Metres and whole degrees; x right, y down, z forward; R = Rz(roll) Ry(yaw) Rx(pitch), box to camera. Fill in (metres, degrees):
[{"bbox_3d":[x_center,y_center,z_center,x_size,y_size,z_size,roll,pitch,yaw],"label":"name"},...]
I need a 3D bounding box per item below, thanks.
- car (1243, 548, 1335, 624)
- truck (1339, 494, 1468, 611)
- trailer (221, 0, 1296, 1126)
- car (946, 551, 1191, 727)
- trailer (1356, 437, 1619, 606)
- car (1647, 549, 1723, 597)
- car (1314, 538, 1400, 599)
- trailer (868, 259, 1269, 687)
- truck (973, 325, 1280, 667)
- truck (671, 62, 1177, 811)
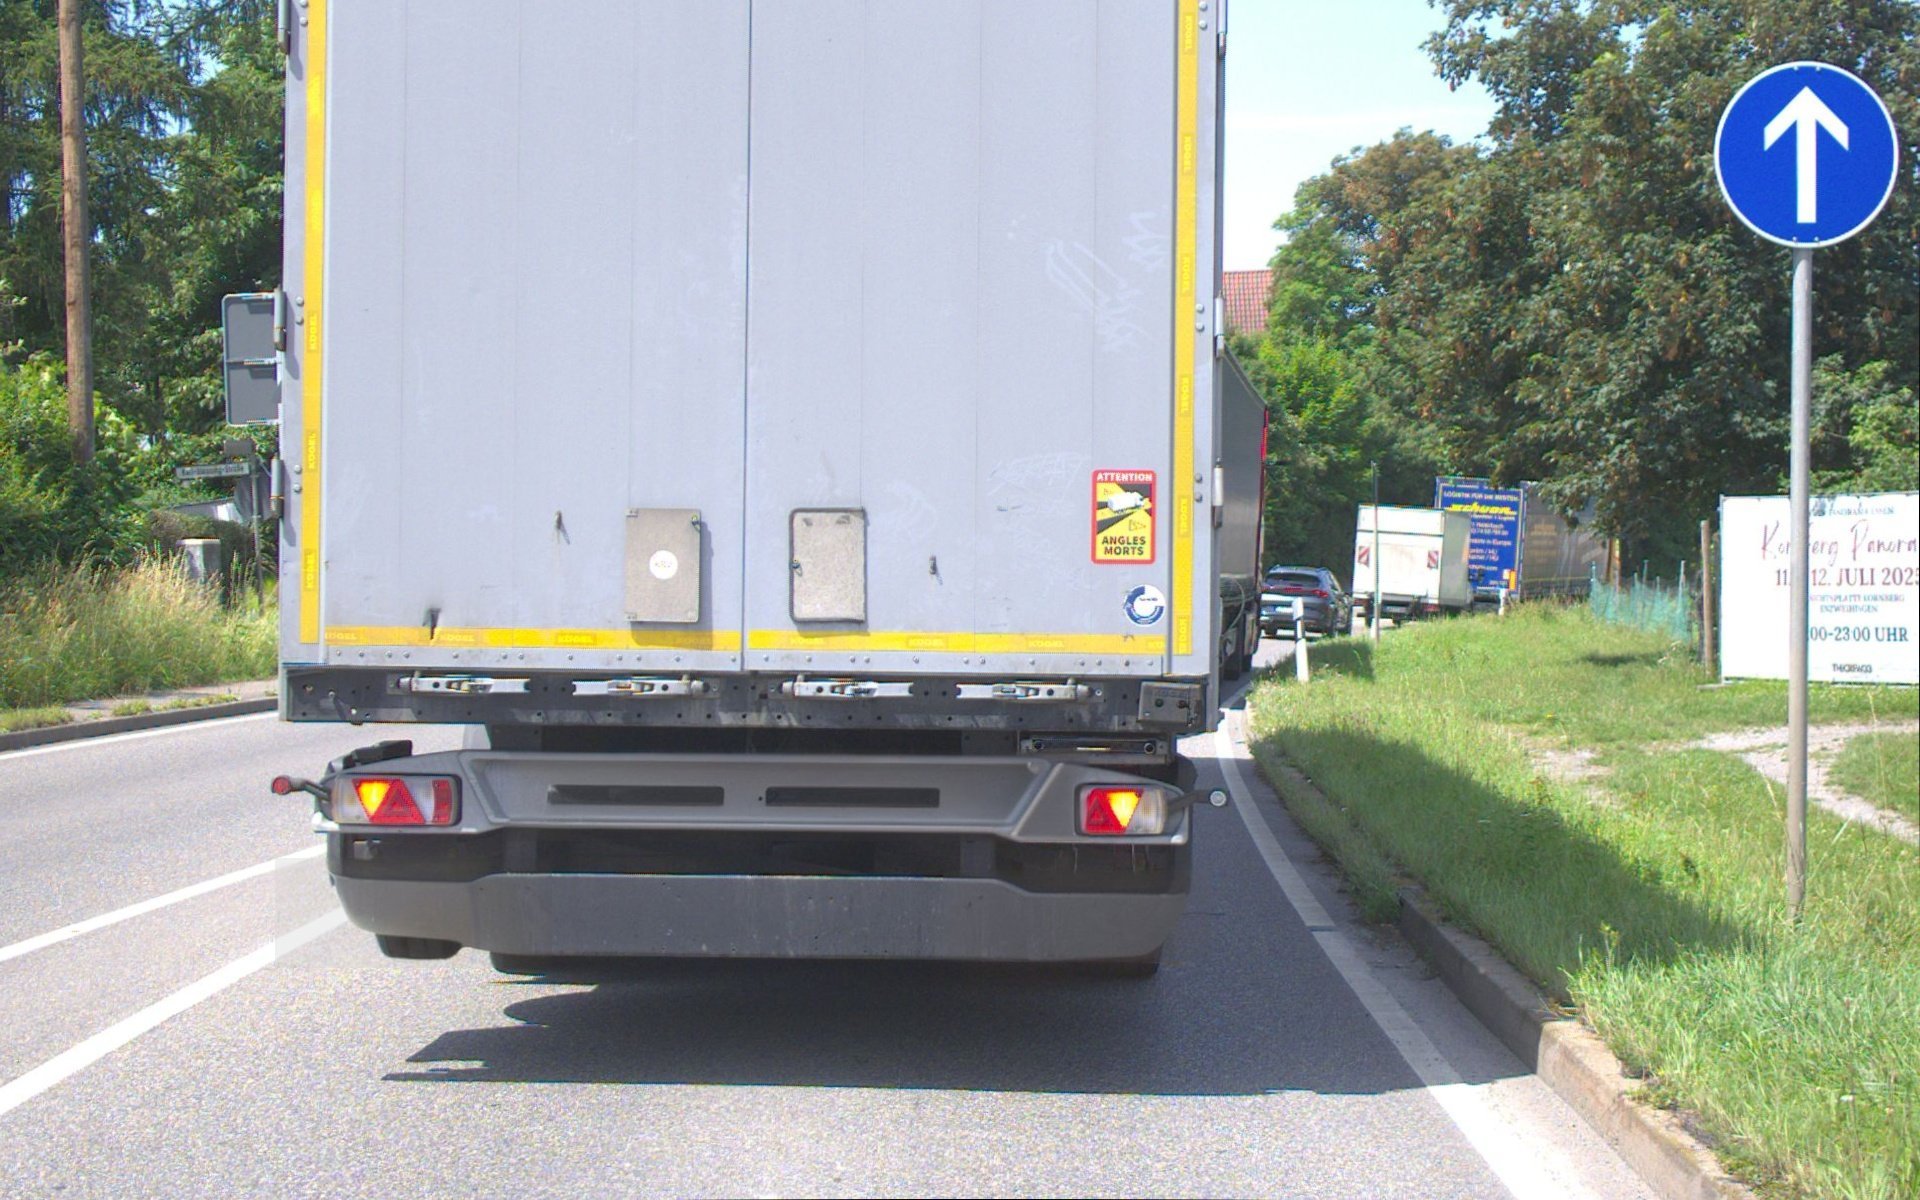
[{"bbox_3d":[6.918,-0.314,72.138,1.841,1.481,3.999,1,1,6],"label":"car"},{"bbox_3d":[11.146,-1.215,86.059,2.422,2.828,5.408,1,1,16],"label":"truck"},{"bbox_3d":[-0.332,-0.895,14.993,2.787,4.191,12.111,1,1,2],"label":"trailer"},{"bbox_3d":[1.104,0.320,32.848,1.994,1.525,3.999,0,1,7],"label":"car"},{"bbox_3d":[15.975,-2.353,102.386,5.184,4.612,15.882,1,2,18],"label":"trailer"},{"bbox_3d":[26.367,-1.001,124.998,1.996,1.678,3.995,1,1,23],"label":"car"},{"bbox_3d":[12.417,-1.012,107.345,1.995,1.831,3.997,1,1,16],"label":"car"},{"bbox_3d":[1.705,-1.442,42.780,3.892,4.505,12.710,0,1,7],"label":"trailer"},{"bbox_3d":[2.547,-1.442,49.618,3.938,4.559,7.150,0,1,7],"label":"truck"},{"bbox_3d":[-0.017,-0.995,22.249,2.746,4.151,6.142,1,1,4],"label":"truck"}]
